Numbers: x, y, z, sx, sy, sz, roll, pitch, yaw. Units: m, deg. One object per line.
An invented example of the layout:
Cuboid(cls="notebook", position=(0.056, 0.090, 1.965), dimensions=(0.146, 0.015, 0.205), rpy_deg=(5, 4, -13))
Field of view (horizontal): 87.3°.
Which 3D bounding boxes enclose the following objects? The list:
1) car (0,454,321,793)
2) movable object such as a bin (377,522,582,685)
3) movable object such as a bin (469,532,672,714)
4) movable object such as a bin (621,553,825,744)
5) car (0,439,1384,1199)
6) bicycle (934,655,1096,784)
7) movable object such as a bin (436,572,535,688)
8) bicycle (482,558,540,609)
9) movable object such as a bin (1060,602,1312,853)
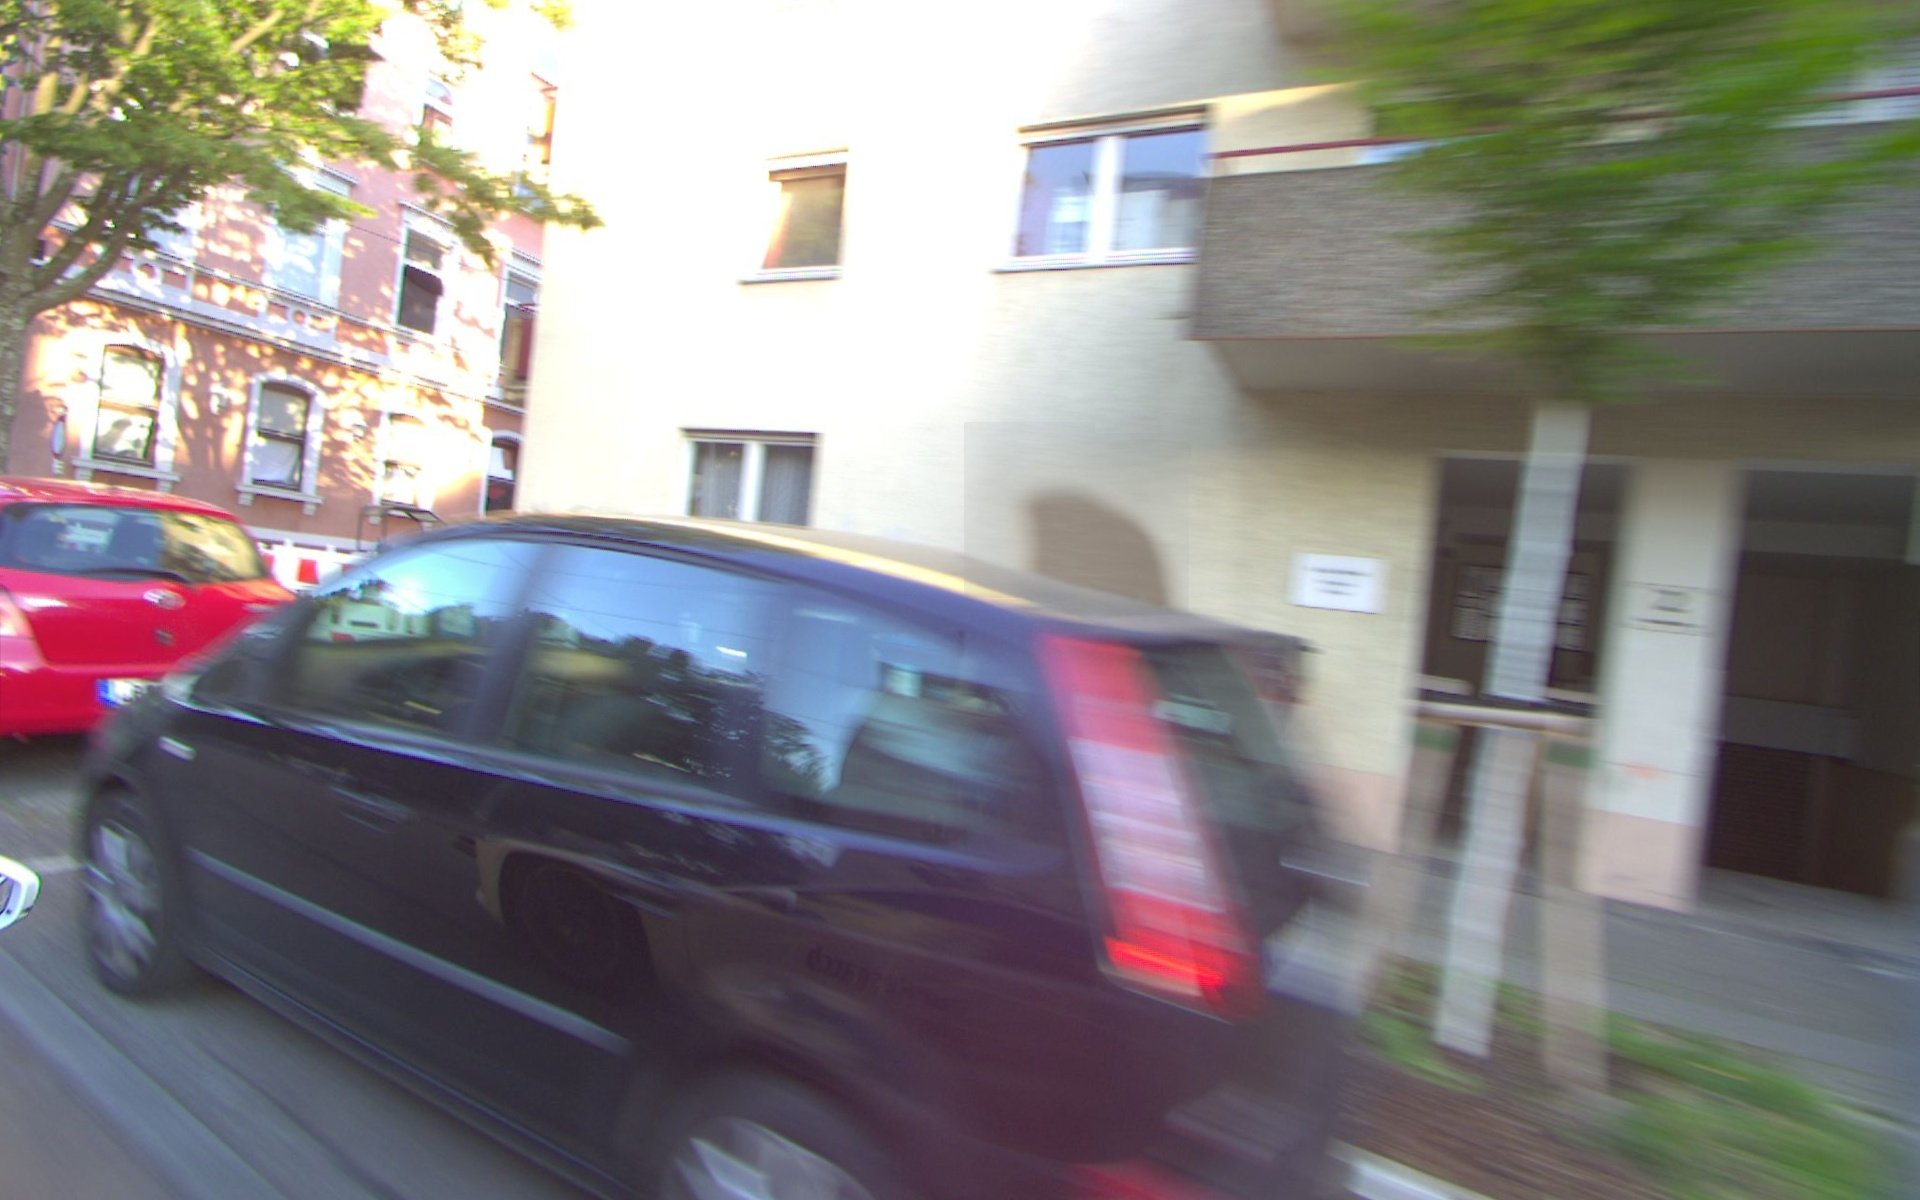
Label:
Cuboid(cls="car", position=(-5.632, -0.036, 6.007), dimensions=(3.631, 1.556, 1.565), rpy_deg=(7, 2, 31))
Cuboid(cls="movable object such as a bin", position=(-5.185, 0.051, 10.897), dimensions=(1.570, 1.520, 1.143), rpy_deg=(7, 0, 26))
Cuboid(cls="movable object such as a bin", position=(-3.724, 0.222, 9.663), dimensions=(1.295, 1.520, 1.075), rpy_deg=(7, 0, 25))
Cuboid(cls="movable object such as a bin", position=(-2.175, 0.443, 9.323), dimensions=(1.248, 1.520, 1.143), rpy_deg=(7, 0, 26))
Cuboid(cls="car", position=(-1.048, 0.532, 3.081), dimensions=(4.018, 1.653, 1.745), rpy_deg=(7, 2, 29))
Cuboid(cls="bicycle", position=(0.459, 0.976, 8.435), dimensions=(1.202, 0.875, 0.414), rpy_deg=(7, 0, 21))
Cuboid(cls="movable object such as a bin", position=(-4.672, 0.300, 9.922), dimensions=(0.561, 1.060, 0.555), rpy_deg=(7, 0, 25))
Cuboid(cls="bicycle", position=(-10.947, -0.405, 24.510), dimensions=(1.372, 1.089, 0.463), rpy_deg=(7, 2, 27))
Cuboid(cls="movable object such as a bin", position=(1.706, 0.890, 7.501), dimensions=(1.456, 1.520, 1.116), rpy_deg=(7, 0, 26))
